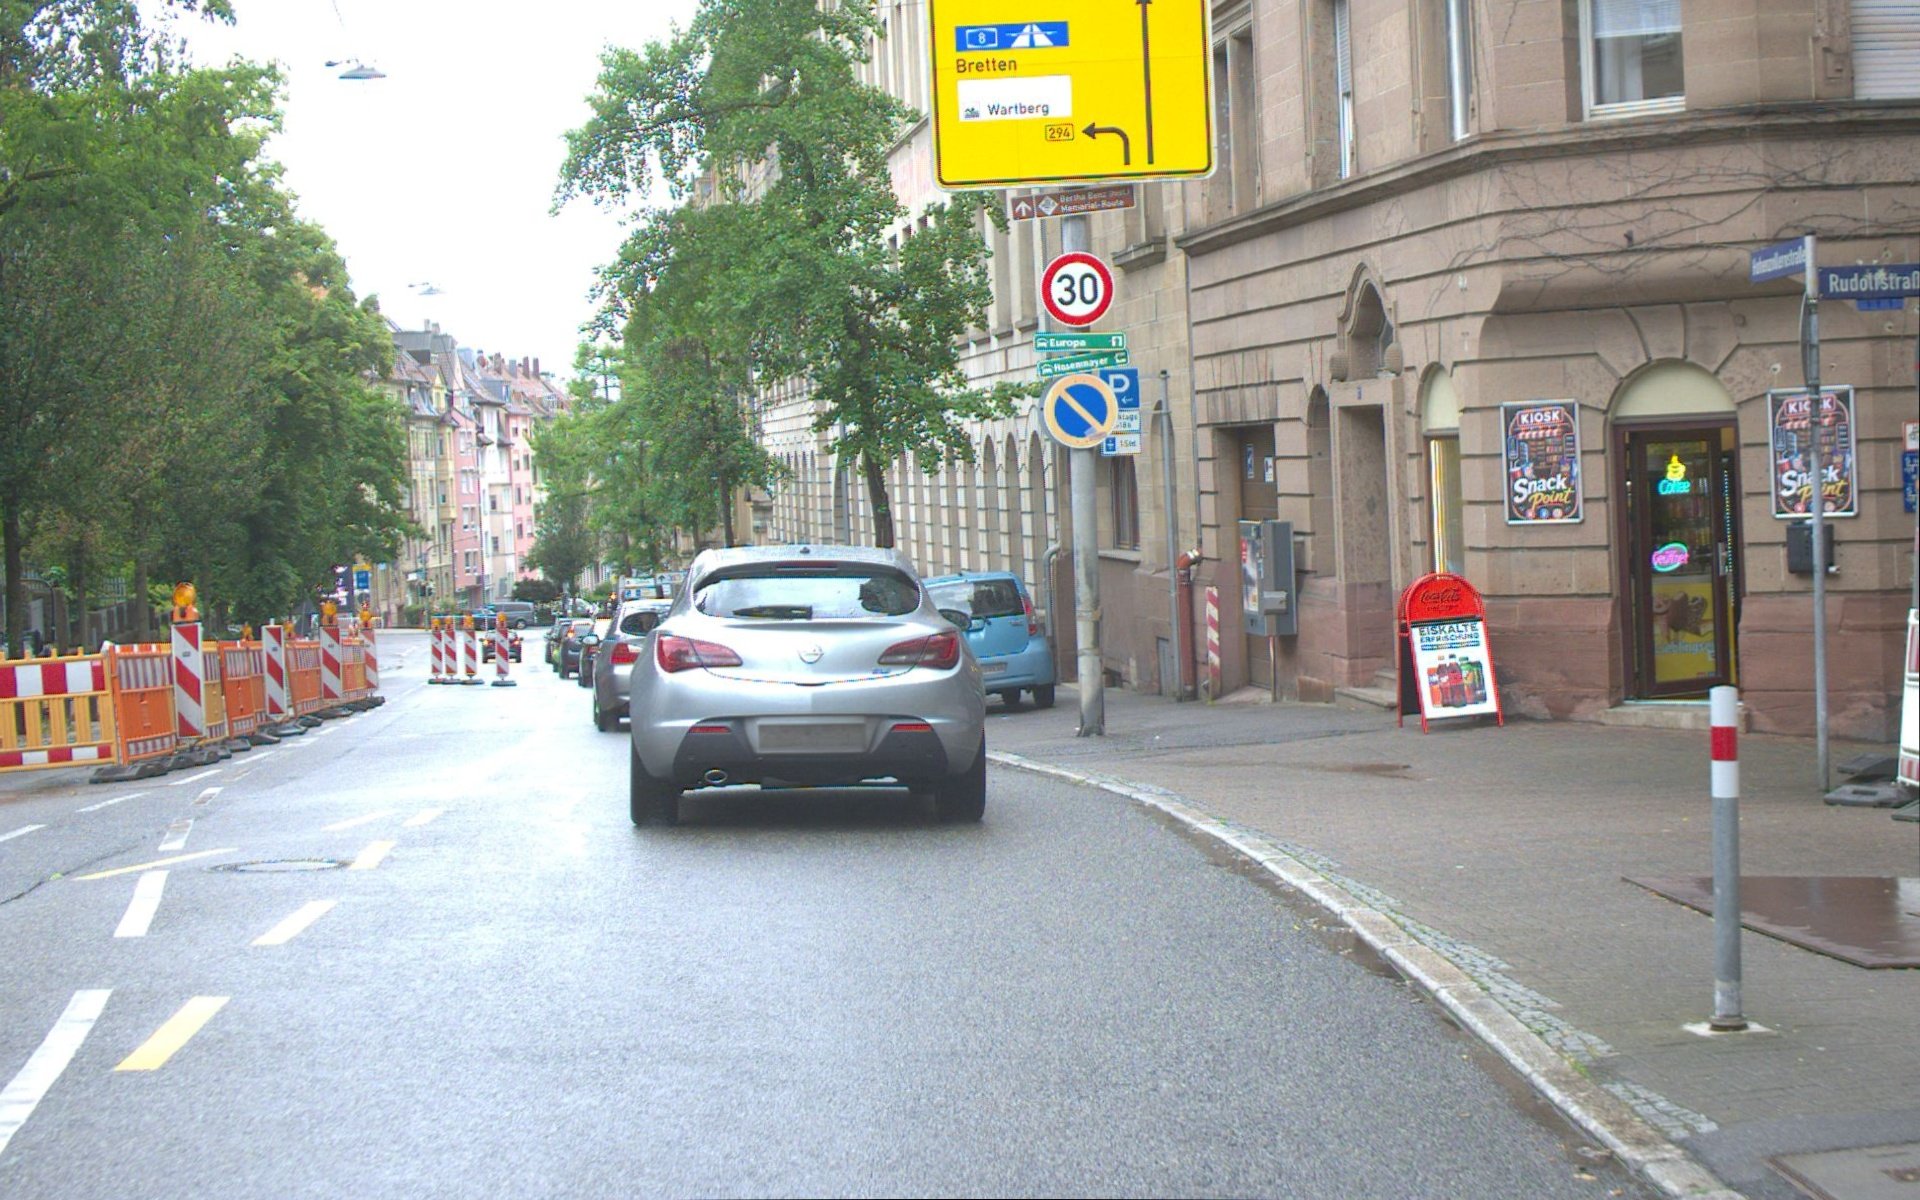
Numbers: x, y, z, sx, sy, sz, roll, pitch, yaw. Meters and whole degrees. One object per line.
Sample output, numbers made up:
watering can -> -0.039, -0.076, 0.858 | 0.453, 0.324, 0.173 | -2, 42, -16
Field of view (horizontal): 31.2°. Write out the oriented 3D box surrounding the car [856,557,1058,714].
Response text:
car -> -0.083, 0.387, 37.971 | 1.656, 1.537, 3.666 | -4, 0, -8

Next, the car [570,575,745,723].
car -> -3.278, 0.500, 37.221 | 1.772, 1.499, 3.869 | -1, 0, -5

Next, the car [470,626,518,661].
car -> -21.332, 1.994, 157.356 | 1.993, 1.495, 4.001 | -2, 0, -9

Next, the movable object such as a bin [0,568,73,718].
movable object such as a bin -> -15.335, 0.689, 54.258 | 1.993, 2.291, 2.816 | -3, 0, -3

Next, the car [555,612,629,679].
car -> -9.308, 1.150, 86.799 | 1.656, 1.537, 3.666 | -4, 0, -8

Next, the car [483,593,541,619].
car -> -31.128, 0.425, 238.829 | 3.986, 1.744, 2.000 | 1, -1, -7

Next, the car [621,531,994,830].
car -> -0.877, 0.391, 18.794 | 1.811, 1.444, 3.869 | -1, 0, -4

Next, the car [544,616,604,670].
car -> -11.908, 1.324, 106.004 | 1.656, 1.537, 3.666 | -4, 0, -8

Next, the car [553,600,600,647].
car -> -15.893, 0.982, 142.316 | 1.715, 1.776, 3.666 | -5, 0, -8

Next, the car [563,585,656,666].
car -> -7.384, 0.542, 72.261 | 1.656, 1.537, 3.666 | -4, 0, -9
